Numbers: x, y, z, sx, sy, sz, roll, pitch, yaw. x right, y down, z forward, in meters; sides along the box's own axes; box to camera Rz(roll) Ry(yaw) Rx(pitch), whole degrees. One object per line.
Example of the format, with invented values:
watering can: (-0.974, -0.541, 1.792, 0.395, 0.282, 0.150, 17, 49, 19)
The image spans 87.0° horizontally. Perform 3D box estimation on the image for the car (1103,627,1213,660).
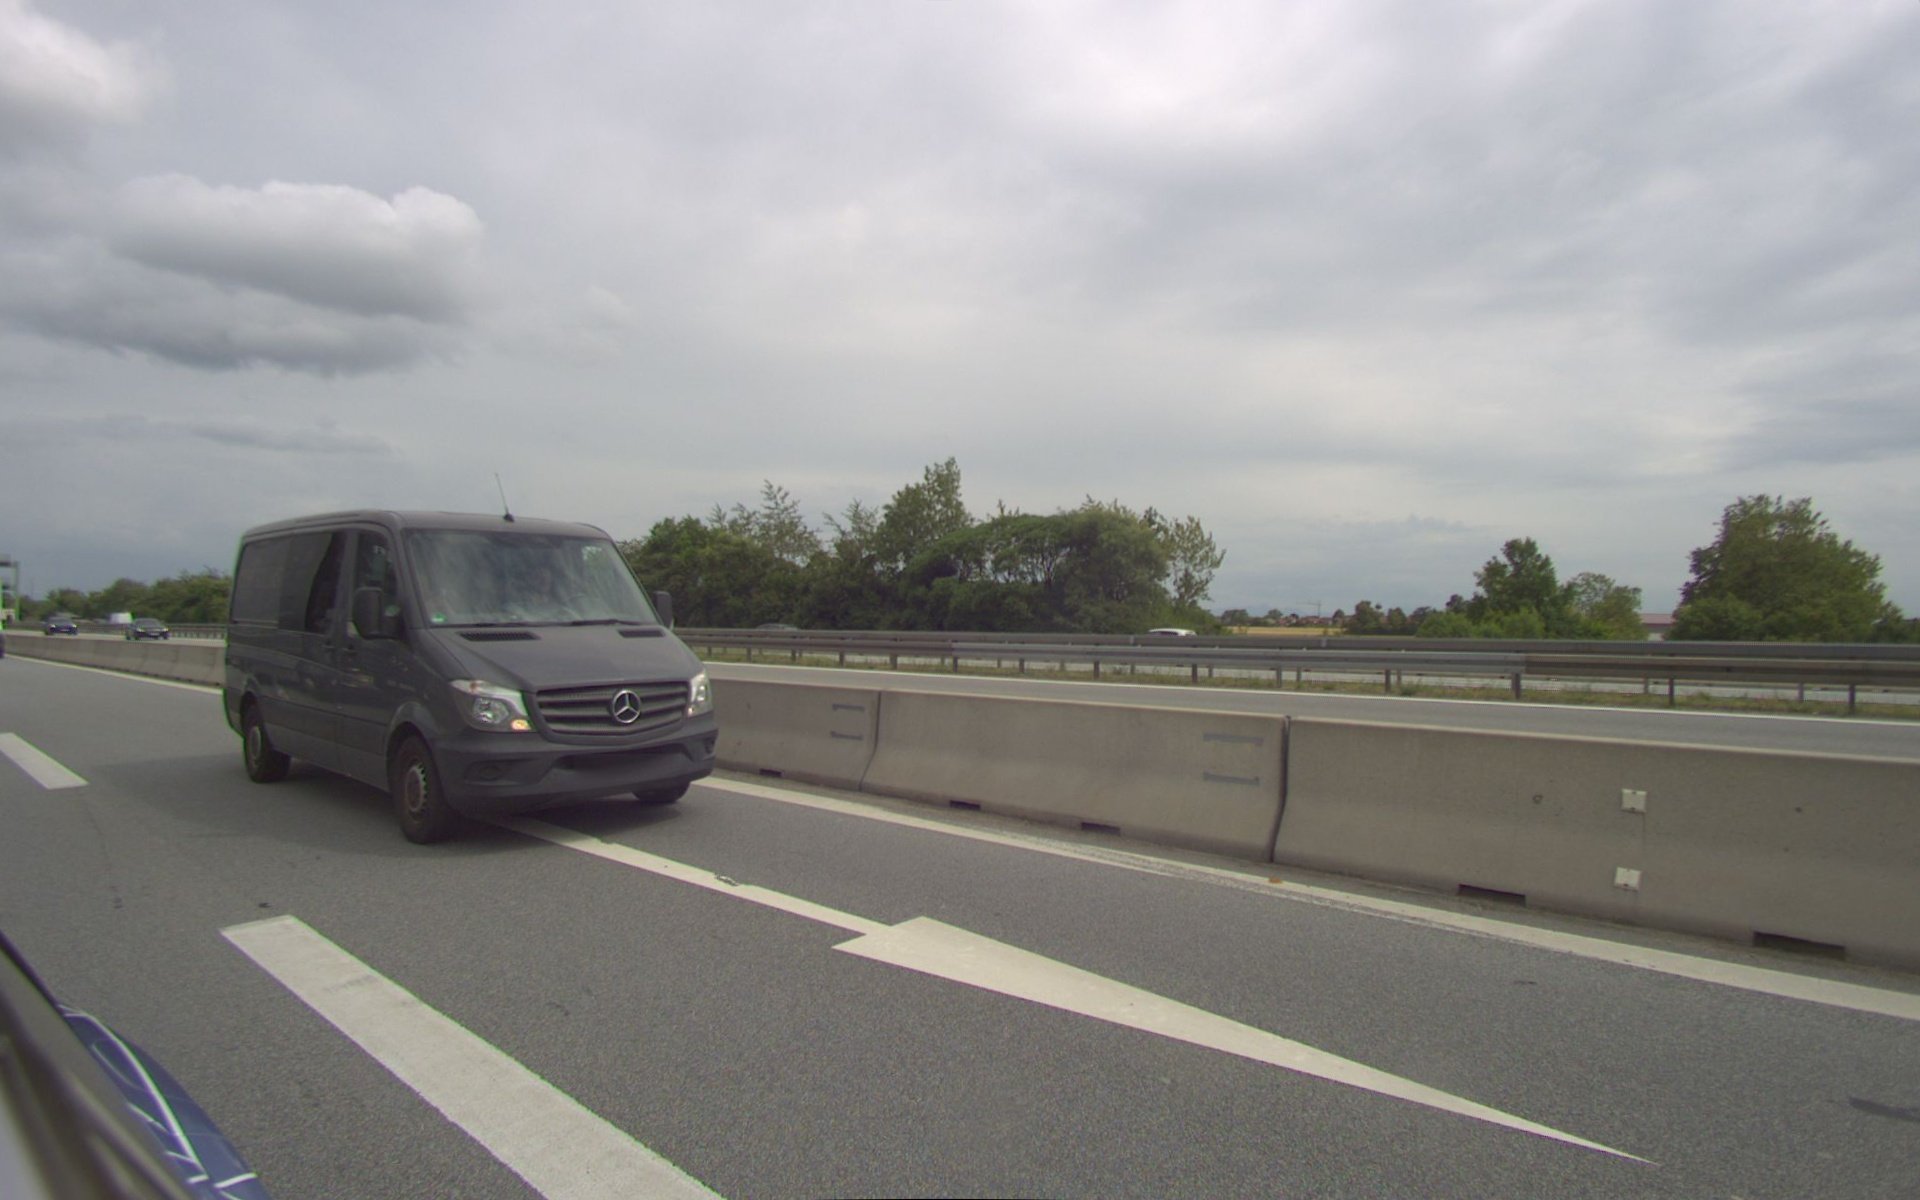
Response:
car: (7.826, 1.706, 40.235, 4.001, 1.201, 1.670, -1, -1, 40)

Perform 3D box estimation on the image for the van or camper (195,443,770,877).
van or camper: (-4.283, 0.381, 8.335, 6.122, 2.389, 1.979, -1, -1, 41)

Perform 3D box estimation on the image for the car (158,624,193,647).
car: (-71.654, 3.215, 92.382, 4.001, 1.985, 1.971, -1, -1, 44)

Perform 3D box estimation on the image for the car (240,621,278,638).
car: (-62.954, 2.634, 90.878, 3.714, 1.531, 1.716, -1, -1, 38)

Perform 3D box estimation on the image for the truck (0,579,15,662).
truck: (-38.541, 0.813, 39.184, 6.369, 3.113, 2.378, -1, -1, 42)

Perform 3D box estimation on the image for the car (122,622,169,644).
car: (-55.129, 2.218, 68.444, 4.381, 1.461, 1.754, -1, -1, 41)

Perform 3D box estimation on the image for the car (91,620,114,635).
car: (-104.563, 3.350, 123.357, 4.001, 1.747, 1.774, -1, -2, 44)

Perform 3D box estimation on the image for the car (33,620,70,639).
car: (-81.596, 2.610, 90.881, 4.381, 1.674, 1.973, -1, -1, 40)
